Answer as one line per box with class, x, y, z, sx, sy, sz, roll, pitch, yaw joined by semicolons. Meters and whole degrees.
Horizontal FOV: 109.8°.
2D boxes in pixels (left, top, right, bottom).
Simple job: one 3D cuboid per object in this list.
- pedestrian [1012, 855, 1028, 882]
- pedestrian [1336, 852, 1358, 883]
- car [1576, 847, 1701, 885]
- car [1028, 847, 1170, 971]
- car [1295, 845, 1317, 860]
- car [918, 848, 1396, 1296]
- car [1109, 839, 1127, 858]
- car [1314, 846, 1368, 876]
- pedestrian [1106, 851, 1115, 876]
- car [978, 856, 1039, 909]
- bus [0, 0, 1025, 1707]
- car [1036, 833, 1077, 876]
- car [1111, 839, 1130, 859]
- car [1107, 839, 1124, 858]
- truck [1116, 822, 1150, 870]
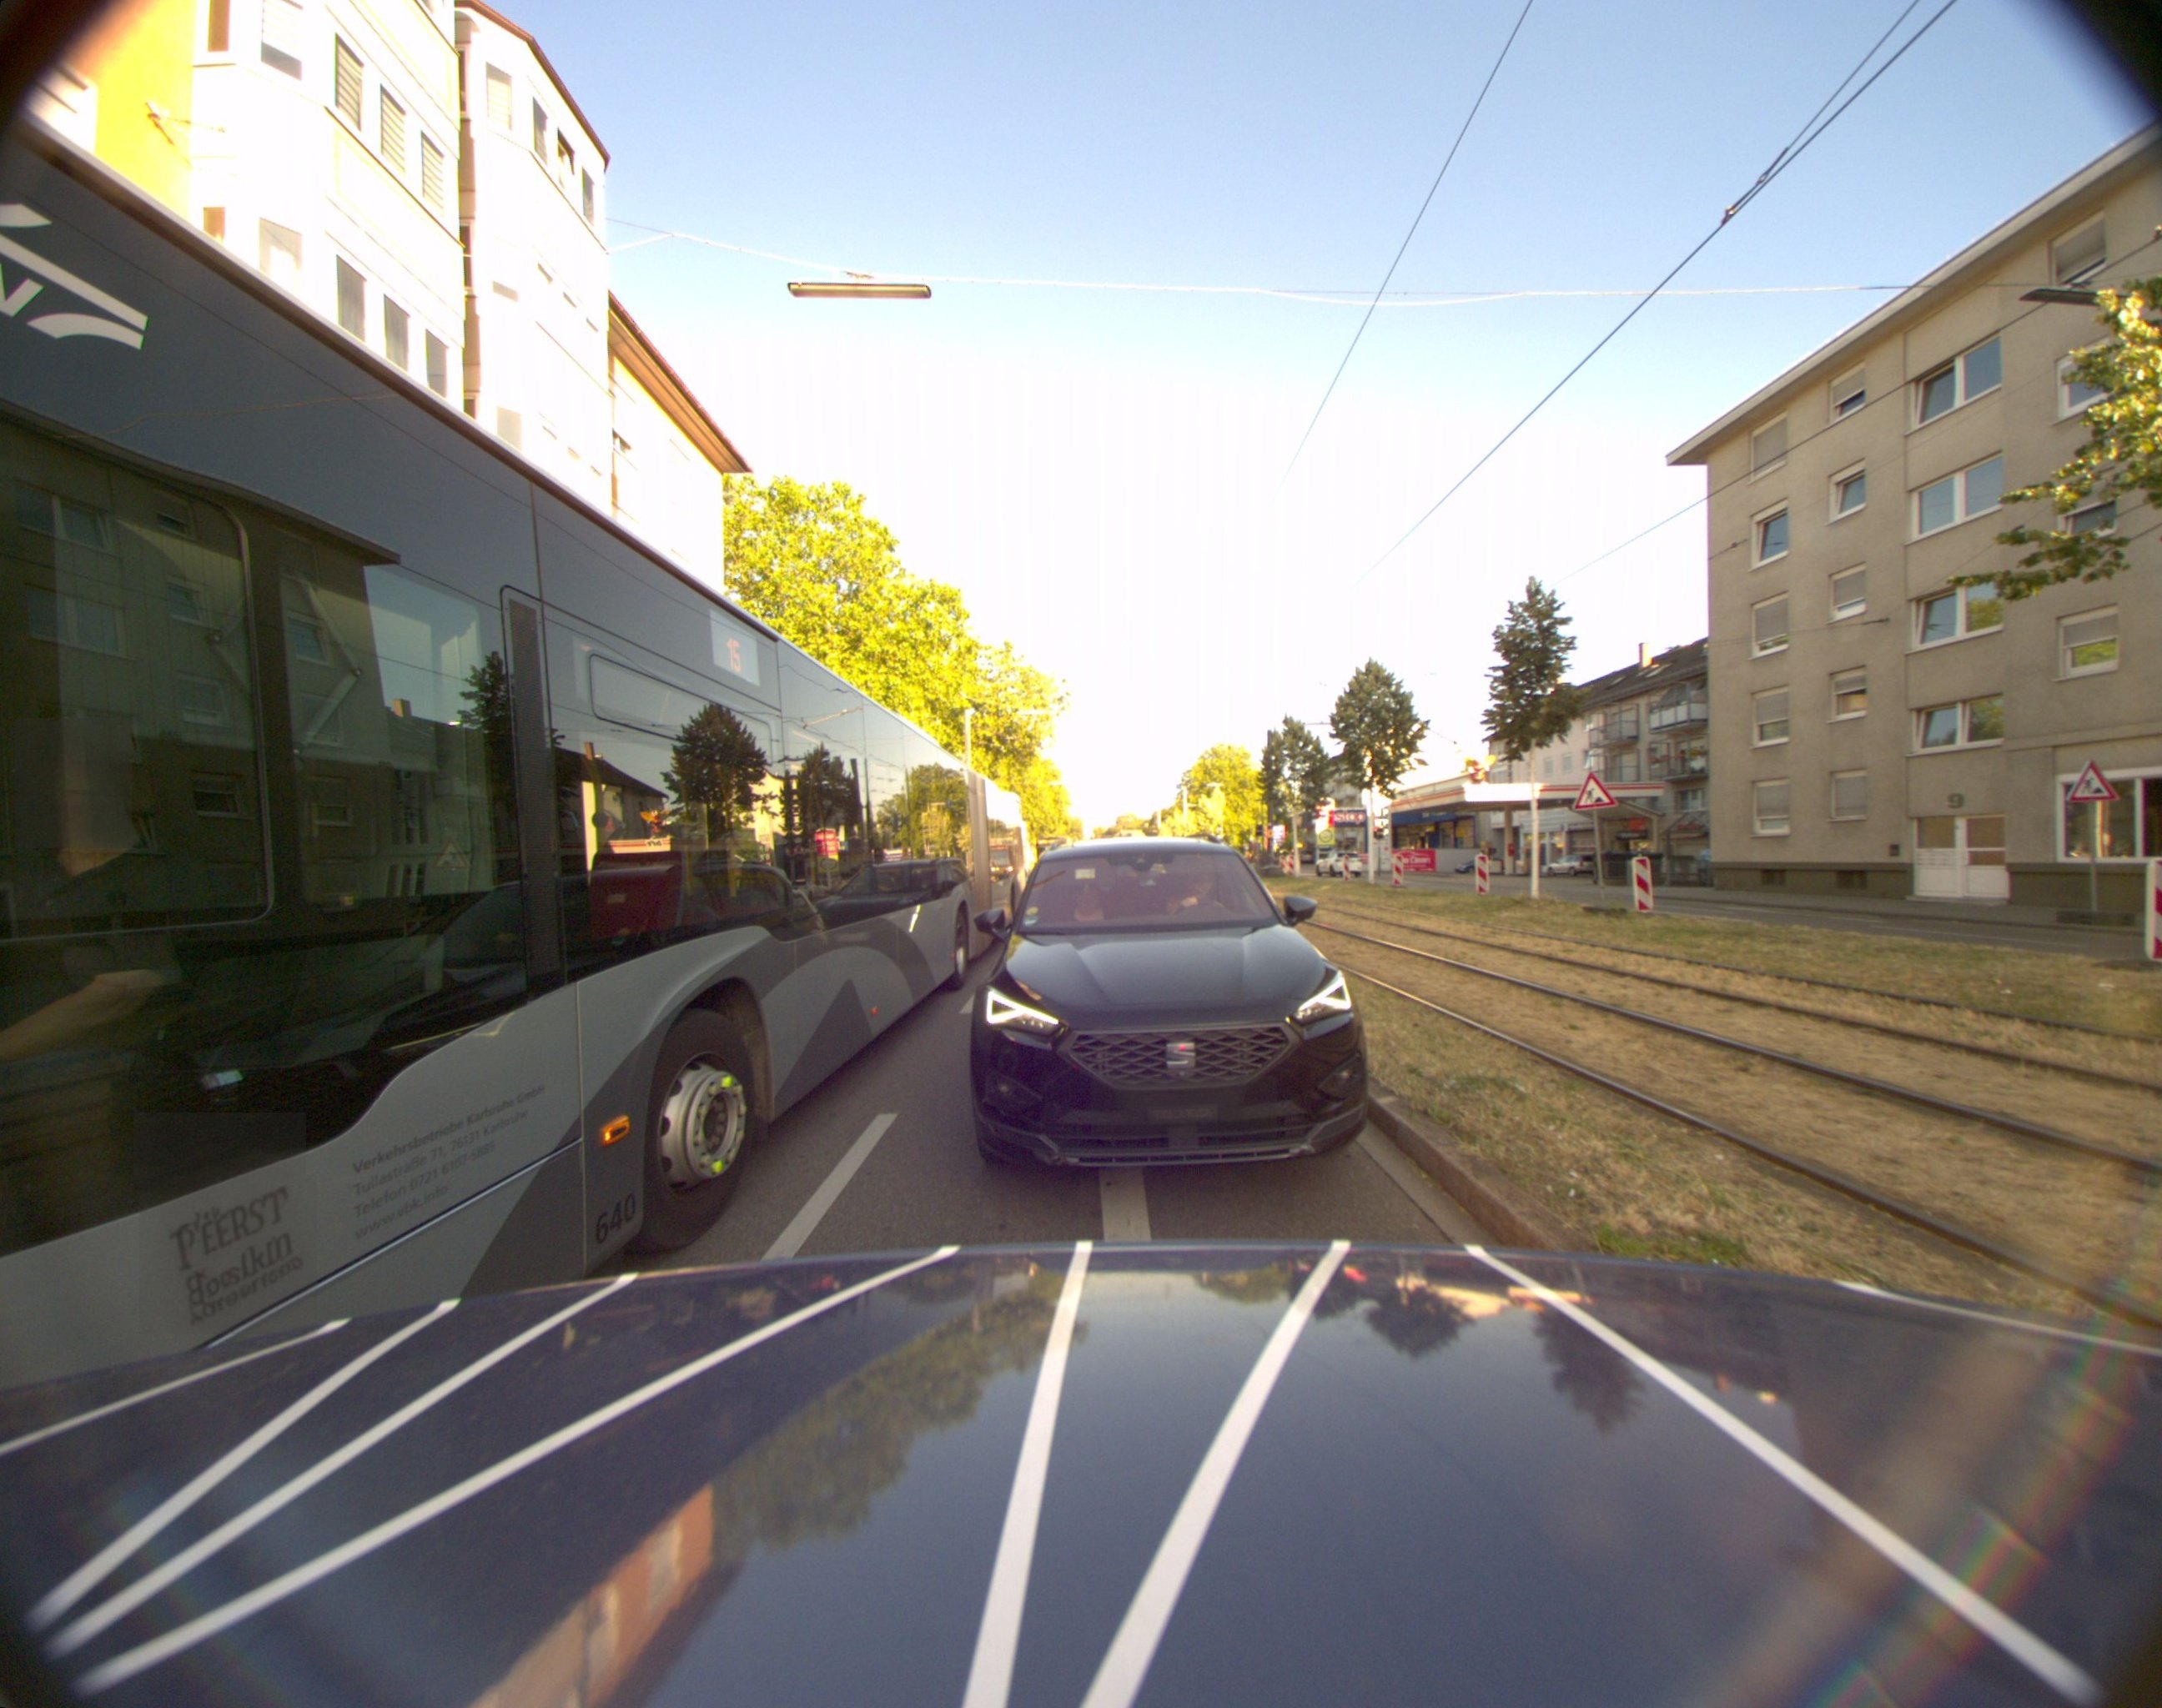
pedestrian;-3.614;0.853;44.835;0.700;1.552;0.508;-3;1;-35
pedestrian;10.937;0.548;31.274;0.664;1.263;0.581;-2;0;1
car;22.775;0.503;31.148;3.727;1.460;1.908;0;-1;0
car;0.284;0.773;12.783;1.998;1.739;4.000;-1;0;1
car;25.100;-0.212;84.822;1.781;1.547;4.002;-2;1;9
car;0.317;0.829;4.892;1.774;1.667;4.000;-2;0;1
car;4.083;-0.587;83.563;1.767;2.002;3.791;-2;1;1
car;16.238;0.393;47.741;1.998;1.725;4.393;-1;1;2
pedestrian;2.402;0.767;61.749;0.625;2.002;0.695;-2;0;0
car;-2.460;0.928;26.518;1.750;1.598;3.823;-2;1;-1
bus;-2.832;0.179;9.058;2.773;3.131;17.740;-2;0;1
car;-1.718;0.021;55.716;2.681;2.875;5.452;-2;1;0
car;4.064;-0.530;78.529;1.767;2.002;3.791;-2;1;1
car;3.993;-0.632;87.884;1.767;2.002;3.791;-2;1;1
truck;4.316;-0.698;64.529;2.306;3.798;7.723;-2;1;1
